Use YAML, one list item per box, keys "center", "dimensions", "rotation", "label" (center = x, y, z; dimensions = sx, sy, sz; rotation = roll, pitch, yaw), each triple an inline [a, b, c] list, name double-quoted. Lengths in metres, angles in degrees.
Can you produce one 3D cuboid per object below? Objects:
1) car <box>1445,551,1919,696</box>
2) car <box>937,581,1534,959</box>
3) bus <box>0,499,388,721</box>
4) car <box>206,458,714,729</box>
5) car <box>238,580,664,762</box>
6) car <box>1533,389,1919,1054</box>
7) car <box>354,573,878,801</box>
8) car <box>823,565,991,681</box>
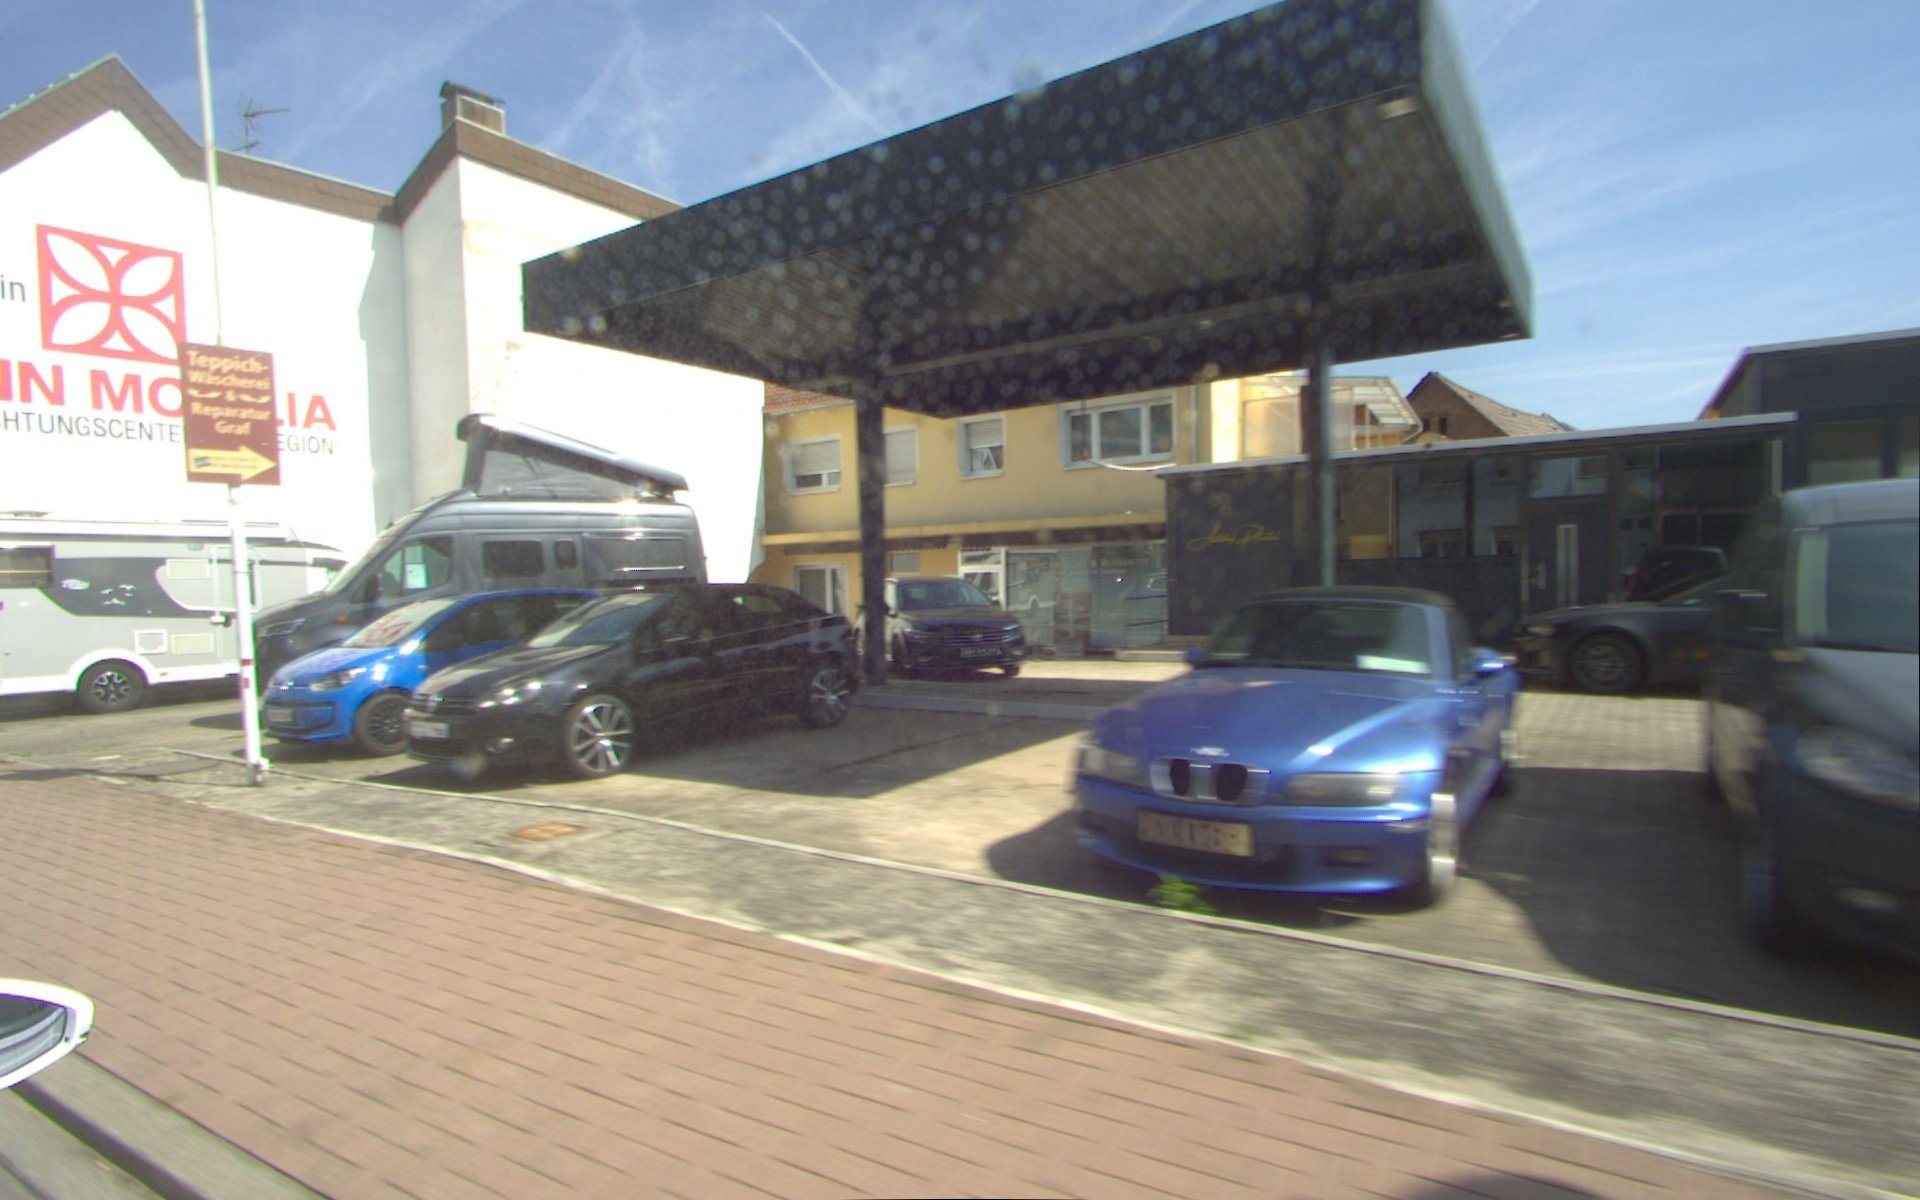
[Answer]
- center: [7.996, 0.235, 11.022]
  dimensions: [4.678, 1.365, 1.755]
  rotation: [-1, 1, 30]
  label: "car"
- center: [1.999, 0.569, 5.862]
  dimensions: [1.940, 1.284, 4.523]
  rotation: [-1, 1, 35]
  label: "car"
- center: [-12.742, 0.103, 15.272]
  dimensions: [2.200, 2.944, 6.542]
  rotation: [-2, 1, 35]
  label: "bus"
- center: [-6.710, -0.144, 13.941]
  dimensions: [5.908, 3.027, 2.299]
  rotation: [-2, 1, -39]
  label: "car"
- center: [-5.175, 0.601, 10.711]
  dimensions: [1.559, 1.549, 3.792]
  rotation: [-1, 1, 30]
  label: "car"
- center: [4.012, 0.283, 4.601]
  dimensions: [1.939, 1.835, 4.619]
  rotation: [1, 2, 35]
  label: "car"
- center: [-2.722, 0.550, 8.856]
  dimensions: [1.705, 1.501, 4.146]
  rotation: [-1, 1, 35]
  label: "car"
- center: [-0.947, 0.308, 15.416]
  dimensions: [1.696, 1.545, 3.863]
  rotation: [0, 0, -17]
  label: "car"
